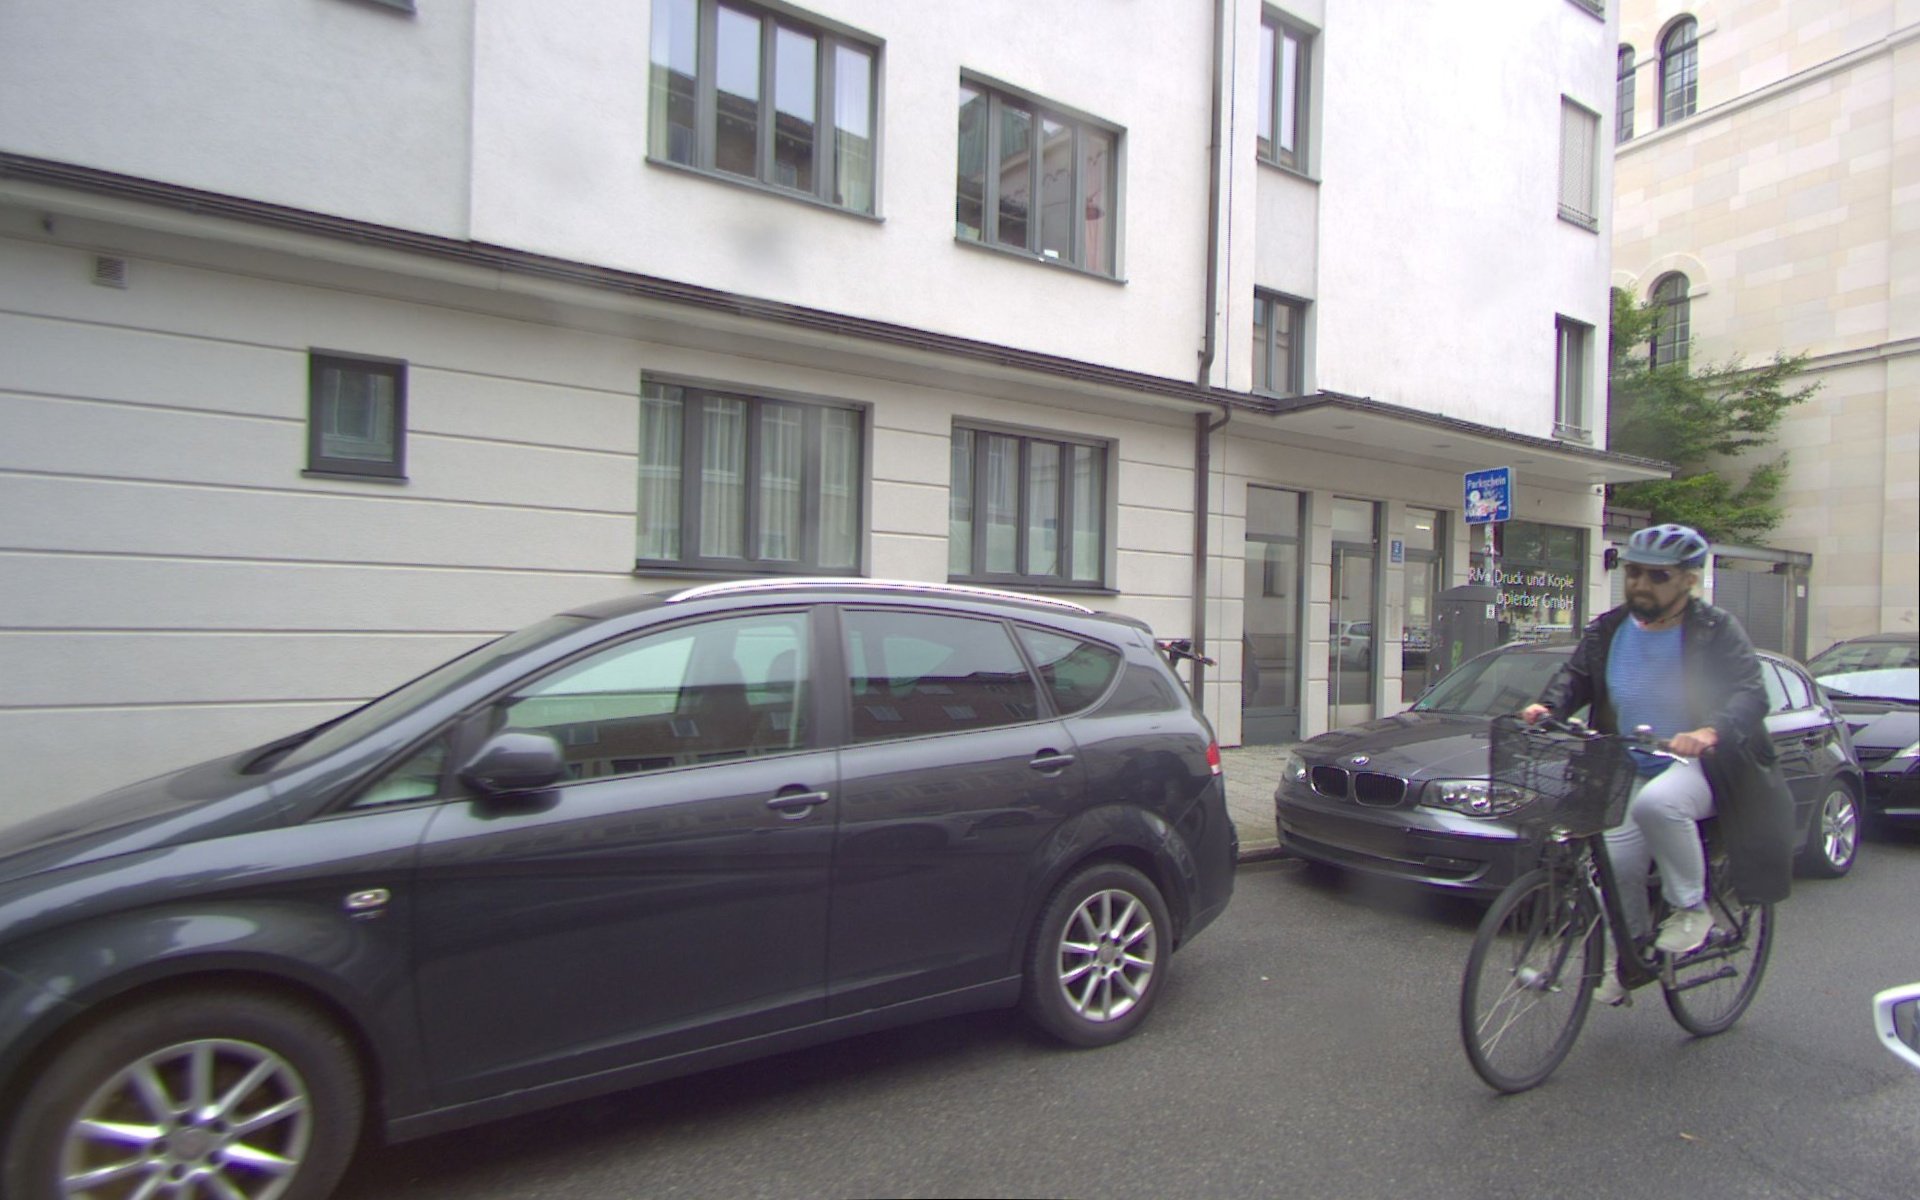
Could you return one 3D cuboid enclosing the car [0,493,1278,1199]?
[{"bbox_3d":[-0.974,0.670,3.606,4.033,1.680,1.863,1,-1,-31],"label":"car"}]

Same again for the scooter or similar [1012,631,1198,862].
[{"bbox_3d":[0.879,0.887,6.167,1.097,1.373,0.226,1,-1,-1],"label":"scooter or similar"}]

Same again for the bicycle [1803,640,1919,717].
[{"bbox_3d":[15.453,1.304,17.108,0.468,1.193,1.712,1,-1,-16],"label":"bicycle"}]

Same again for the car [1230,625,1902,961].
[{"bbox_3d":[3.756,0.894,6.148,3.964,1.472,1.744,1,-1,-28],"label":"car"}]

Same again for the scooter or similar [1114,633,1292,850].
[{"bbox_3d":[1.571,0.907,6.532,1.097,1.373,0.226,1,-1,-1],"label":"scooter or similar"}]

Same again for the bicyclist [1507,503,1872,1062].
[{"bbox_3d":[2.407,0.527,3.332,0.876,1.571,0.654,2,-1,-28],"label":"bicyclist"}]

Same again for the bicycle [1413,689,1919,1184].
[{"bbox_3d":[2.444,0.946,3.384,1.926,1.213,0.646,2,-1,-29],"label":"bicycle"}]

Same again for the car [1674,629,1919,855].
[{"bbox_3d":[7.864,0.984,8.104,3.961,1.472,1.745,1,-1,-26],"label":"car"}]
